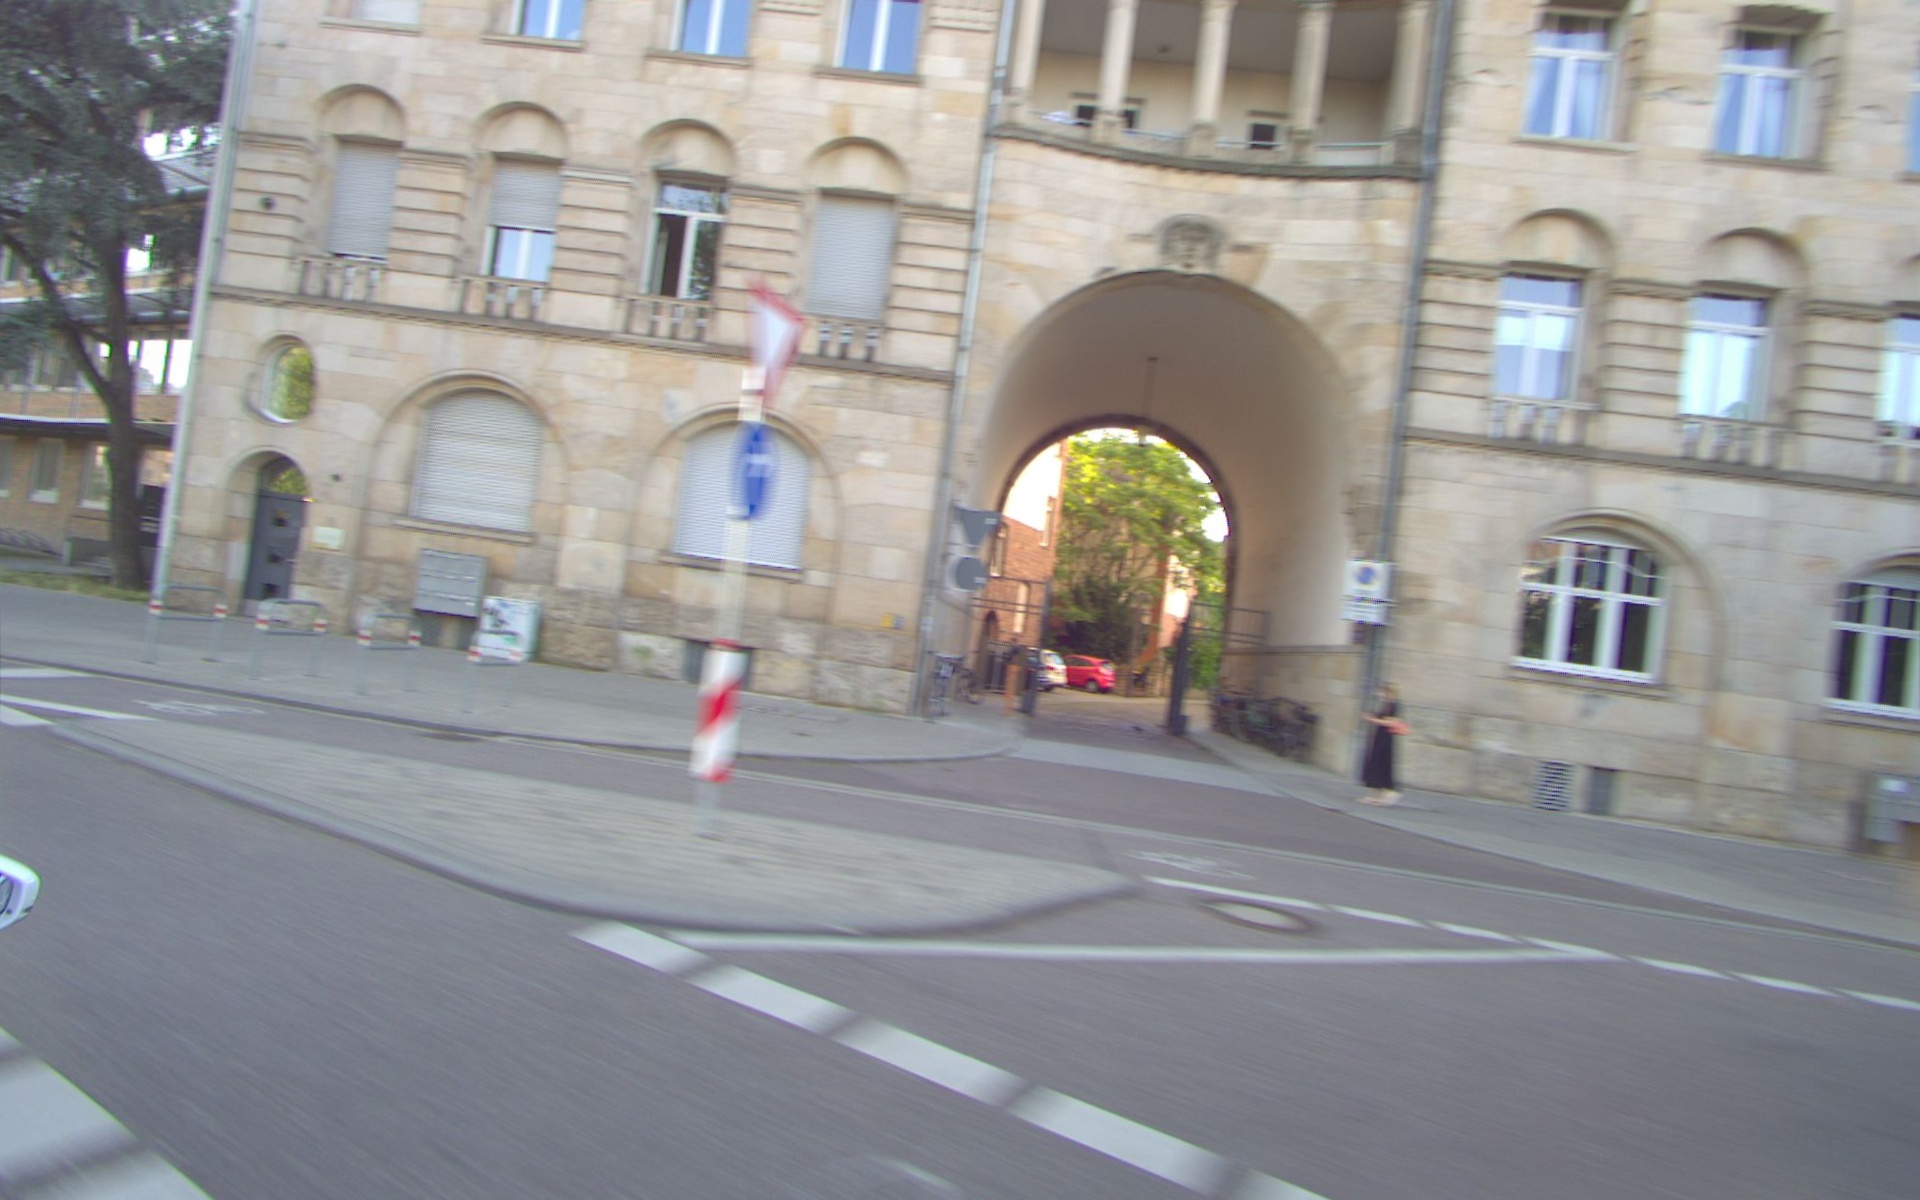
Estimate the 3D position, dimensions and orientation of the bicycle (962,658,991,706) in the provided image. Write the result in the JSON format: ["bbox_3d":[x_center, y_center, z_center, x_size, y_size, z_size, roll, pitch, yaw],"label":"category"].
[{"bbox_3d":[0.378,1.846,22.968,0.473,0.967,1.513,8,-1,3],"label":"bicycle"}]

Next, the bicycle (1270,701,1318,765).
[{"bbox_3d":[6.125,2.419,18.503,0.353,0.997,1.443,8,-1,4],"label":"bicycle"}]

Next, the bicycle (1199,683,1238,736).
[{"bbox_3d":[6.518,2.742,25.424,0.525,1.141,1.615,8,-1,4],"label":"bicycle"}]

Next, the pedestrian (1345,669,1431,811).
[{"bbox_3d":[5.645,1.828,13.298,0.708,1.729,0.578,8,0,8],"label":"pedestrian"}]

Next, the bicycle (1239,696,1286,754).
[{"bbox_3d":[6.188,2.537,20.636,0.406,0.997,1.735,8,-1,4],"label":"bicycle"}]

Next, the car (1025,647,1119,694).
[{"bbox_3d":[4.936,3.104,44.211,3.621,1.462,1.625,8,-1,26],"label":"car"}]

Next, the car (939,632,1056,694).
[{"bbox_3d":[1.324,2.248,35.773,3.621,1.613,1.625,8,-1,26],"label":"car"}]

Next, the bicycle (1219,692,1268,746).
[{"bbox_3d":[6.303,2.631,22.453,0.598,0.981,1.573,8,-1,4],"label":"bicycle"}]

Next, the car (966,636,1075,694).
[{"bbox_3d":[2.293,2.451,38.088,3.621,1.613,1.625,8,-1,26],"label":"car"}]

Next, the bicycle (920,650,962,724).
[{"bbox_3d":[-0.297,1.422,16.807,0.421,1.085,1.857,8,-1,3],"label":"bicycle"}]

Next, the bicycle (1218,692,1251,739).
[{"bbox_3d":[6.530,2.744,23.972,0.368,0.982,1.256,8,-1,4],"label":"bicycle"}]
